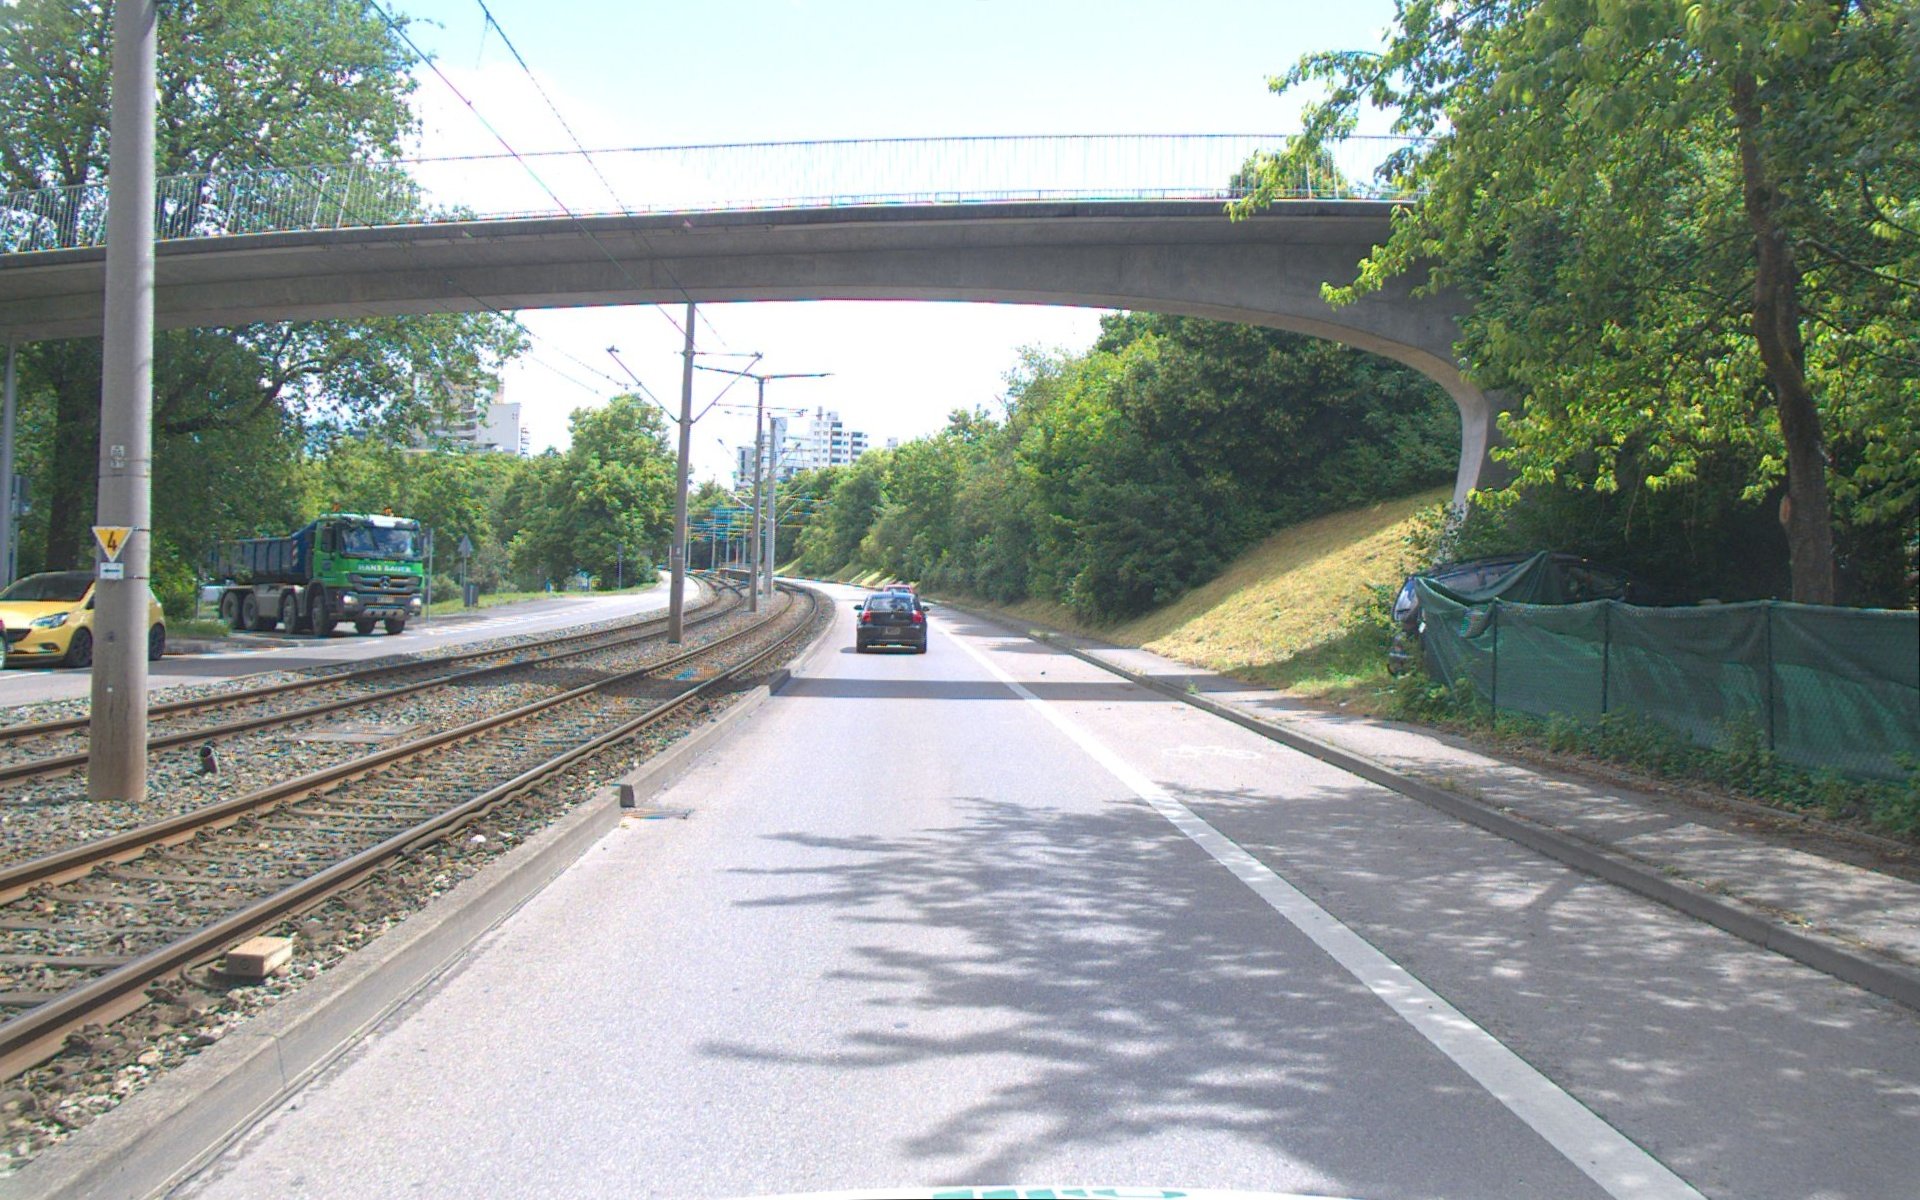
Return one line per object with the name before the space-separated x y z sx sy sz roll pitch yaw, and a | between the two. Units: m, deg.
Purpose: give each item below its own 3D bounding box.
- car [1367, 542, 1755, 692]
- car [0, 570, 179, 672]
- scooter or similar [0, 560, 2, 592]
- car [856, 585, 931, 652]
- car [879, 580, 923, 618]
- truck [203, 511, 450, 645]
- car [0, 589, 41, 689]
car | 7.943 0.244 22.201 4.431 1.701 2.000 -3 -2 1
car | -14.346 0.337 26.617 1.655 1.476 3.897 3 -2 -1
scooter or similar | -25.082 -0.478 42.241 0.696 1.167 0.787 3 -2 1
car | -1.643 0.430 40.626 1.674 1.485 3.958 3 0 -3
car | -2.486 -0.025 70.236 1.591 1.468 3.421 3 -1 1
truck | -18.168 -0.695 47.030 8.876 3.377 2.861 3 -1 43
car | -14.058 0.487 21.840 1.480 1.384 4.127 3 -1 -1
